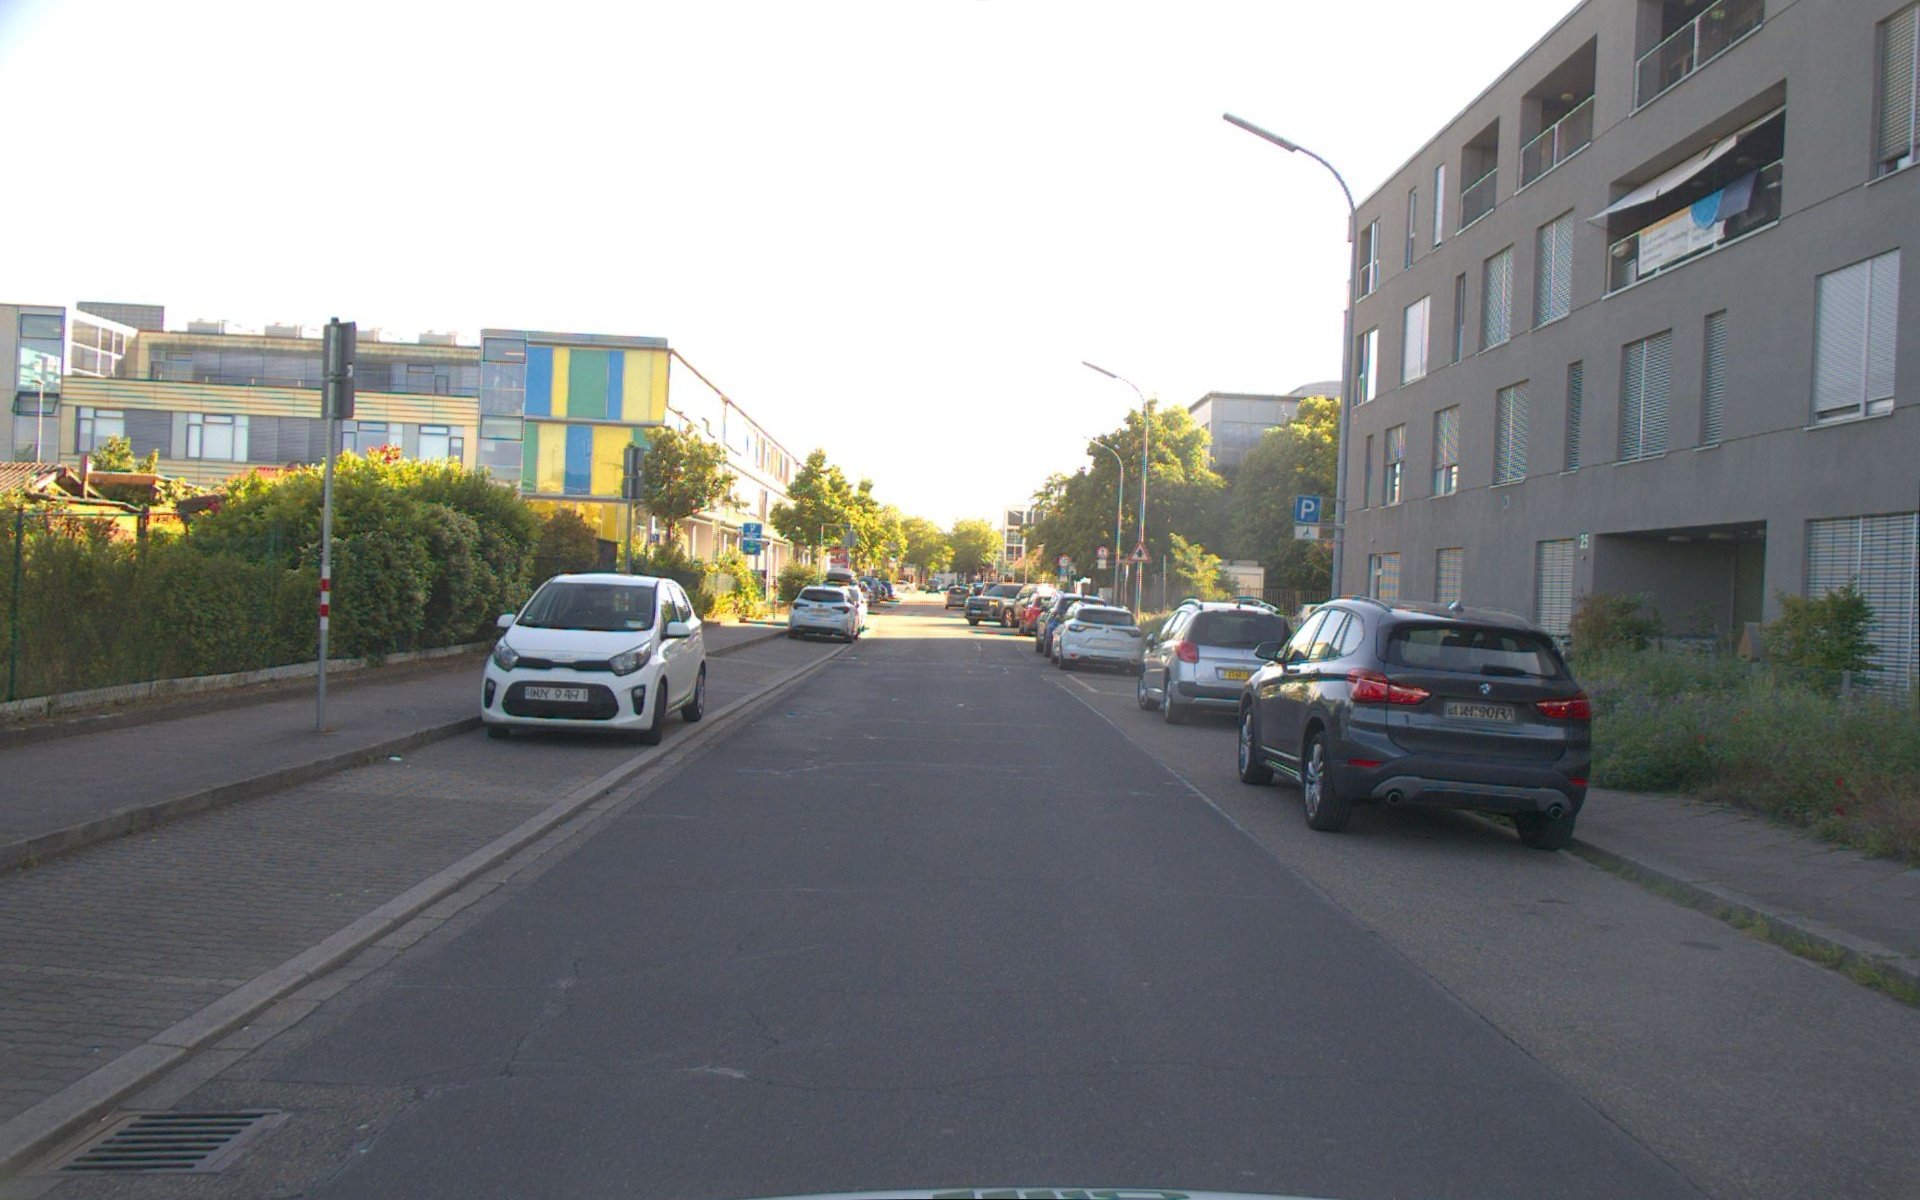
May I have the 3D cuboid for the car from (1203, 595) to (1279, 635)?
[{"bbox_3d":[12.816,0.677,75.485,3.150,1.576,1.450,4,0,2],"label":"car"}]

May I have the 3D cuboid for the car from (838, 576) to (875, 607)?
[{"bbox_3d":[-6.017,-0.498,96.674,1.817,1.590,4.133,4,0,-1],"label":"car"}]

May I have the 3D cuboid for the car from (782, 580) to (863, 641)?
[{"bbox_3d":[-3.711,0.258,45.259,1.817,1.453,4.133,4,0,-1],"label":"car"}]

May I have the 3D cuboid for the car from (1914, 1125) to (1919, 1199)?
[{"bbox_3d":[3.486,0.876,2.367,1.643,1.636,4.177,5,0,-1],"label":"car"}]

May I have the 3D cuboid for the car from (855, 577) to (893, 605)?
[{"bbox_3d":[-5.424,-0.567,104.955,1.816,1.590,4.136,4,0,4],"label":"car"}]

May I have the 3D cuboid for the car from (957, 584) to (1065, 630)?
[{"bbox_3d":[2.079,0.288,66.555,4.157,1.573,1.822,4,0,-42],"label":"car"}]

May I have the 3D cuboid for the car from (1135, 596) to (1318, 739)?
[{"bbox_3d":[3.380,0.796,21.602,1.624,1.578,3.850,4,0,-1],"label":"car"}]

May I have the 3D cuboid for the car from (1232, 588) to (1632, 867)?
[{"bbox_3d":[3.347,0.800,12.607,1.707,1.653,4.178,4,0,-1],"label":"car"}]

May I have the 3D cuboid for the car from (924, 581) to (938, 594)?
[{"bbox_3d":[-3.730,-1.639,212.628,1.630,1.576,3.901,4,0,-2],"label":"car"}]

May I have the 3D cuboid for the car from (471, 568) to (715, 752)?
[{"bbox_3d":[-3.418,0.504,16.042,1.528,1.521,3.758,2,0,-1],"label":"car"}]

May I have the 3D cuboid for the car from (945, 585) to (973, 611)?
[{"bbox_3d":[-0.061,-0.126,107.744,1.655,1.576,3.613,4,0,-2],"label":"car"}]

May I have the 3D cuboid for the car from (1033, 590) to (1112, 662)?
[{"bbox_3d":[2.851,0.630,42.548,1.600,1.658,3.613,4,0,-2],"label":"car"}]

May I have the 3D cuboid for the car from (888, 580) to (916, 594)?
[{"bbox_3d":[-7.754,-1.741,219.875,3.533,1.576,1.448,4,0,-6],"label":"car"}]

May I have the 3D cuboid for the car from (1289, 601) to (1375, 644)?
[{"bbox_3d":[15.137,0.921,67.409,3.150,1.486,1.450,4,0,2],"label":"car"}]

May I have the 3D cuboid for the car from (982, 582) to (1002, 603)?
[{"bbox_3d":[2.554,-0.607,132.580,1.416,1.576,3.613,4,0,-2],"label":"car"}]

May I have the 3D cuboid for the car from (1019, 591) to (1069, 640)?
[{"bbox_3d":[2.969,0.518,58.960,1.416,1.576,3.613,4,0,-2],"label":"car"}]

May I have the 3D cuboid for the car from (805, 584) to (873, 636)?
[{"bbox_3d":[-3.811,0.279,52.570,1.817,1.453,4.133,4,0,-1],"label":"car"}]

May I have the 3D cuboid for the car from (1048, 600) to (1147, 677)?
[{"bbox_3d":[2.970,0.811,36.540,1.707,1.453,4.133,4,0,-1],"label":"car"}]

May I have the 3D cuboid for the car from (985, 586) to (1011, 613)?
[{"bbox_3d":[2.448,-0.047,107.168,1.416,1.576,3.613,4,0,-2],"label":"car"}]
